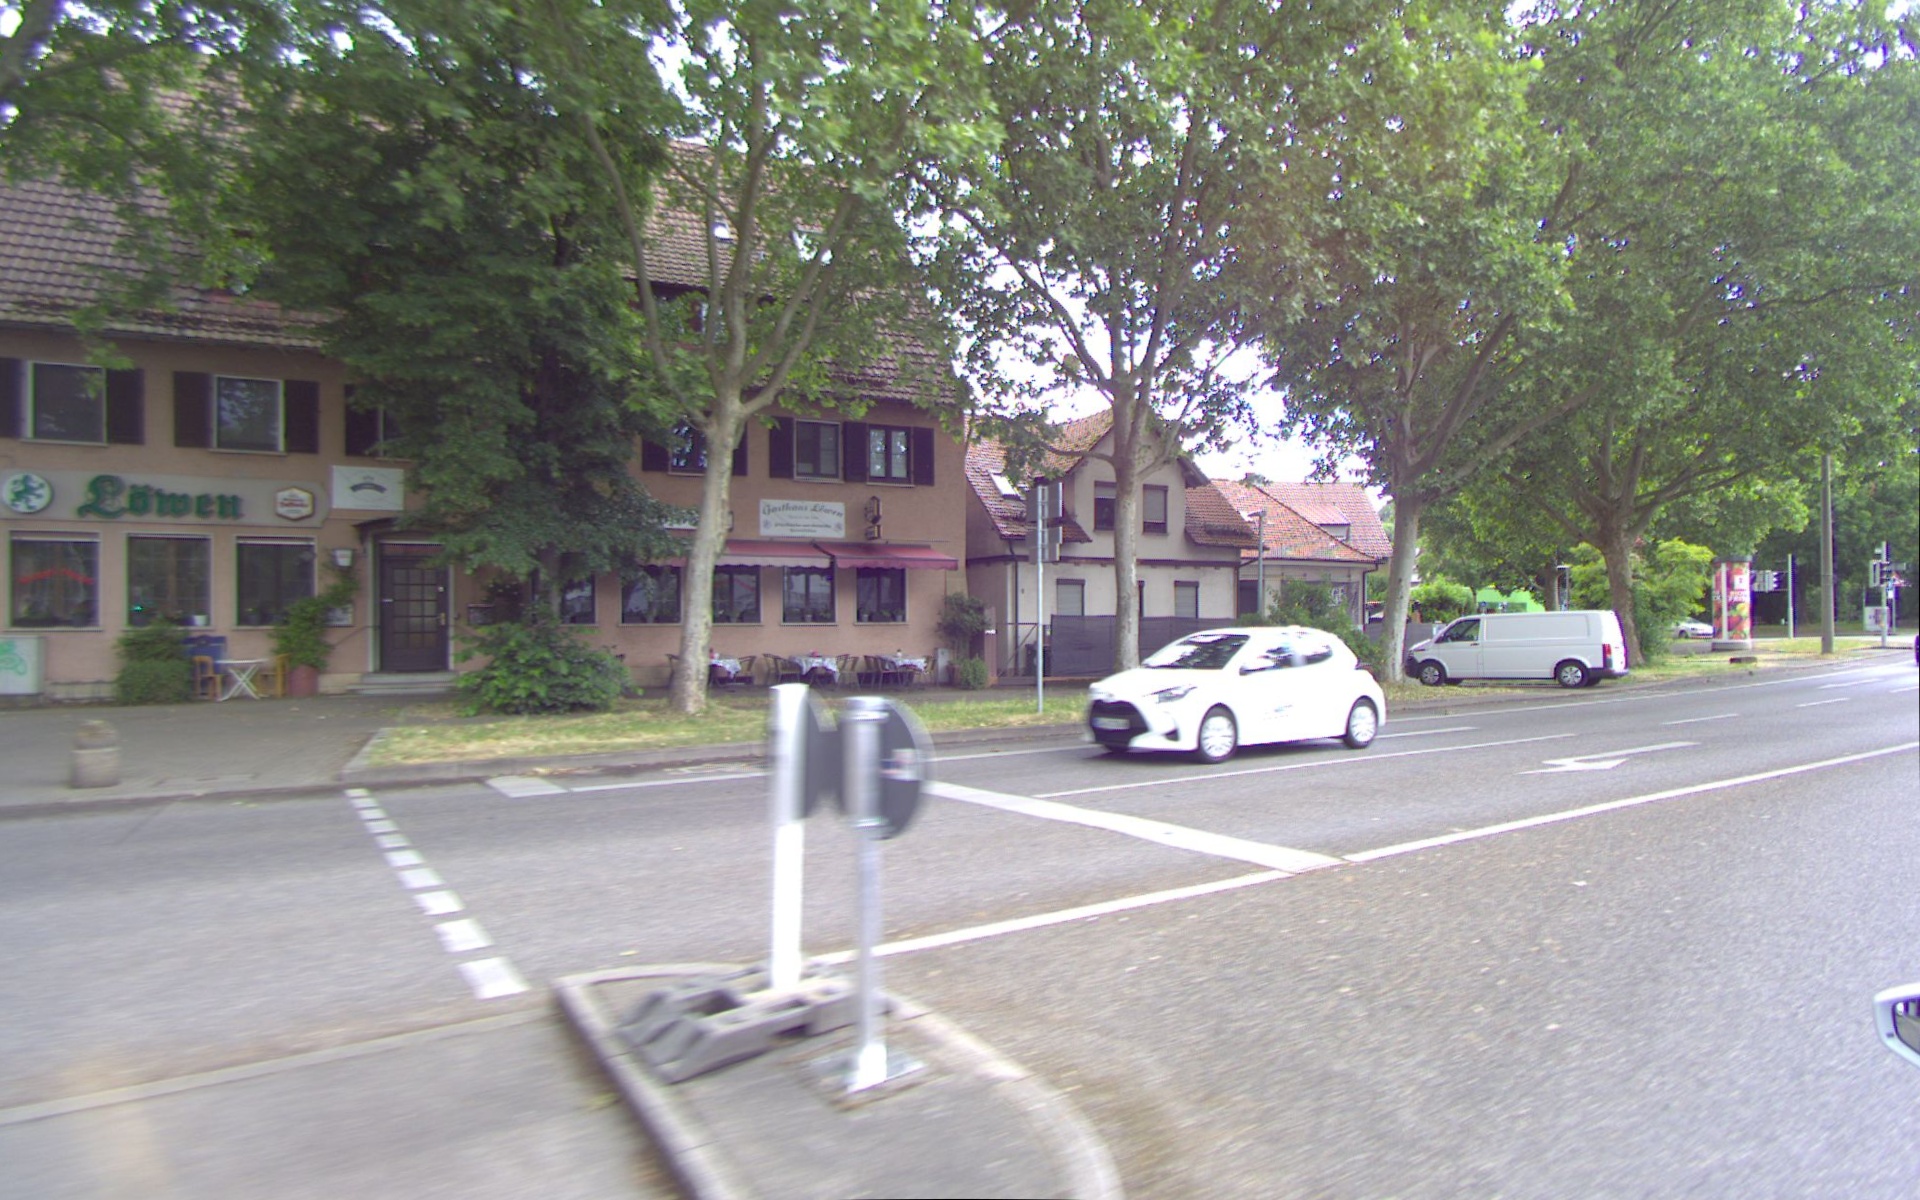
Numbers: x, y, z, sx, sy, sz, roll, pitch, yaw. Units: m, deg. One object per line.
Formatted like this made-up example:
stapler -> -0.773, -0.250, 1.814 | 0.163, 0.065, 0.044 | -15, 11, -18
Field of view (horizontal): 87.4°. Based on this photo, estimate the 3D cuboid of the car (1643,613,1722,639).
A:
car -> 43.820, 1.555, 61.035 | 1.791, 1.499, 3.852 | 0, -1, -5

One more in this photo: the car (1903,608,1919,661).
car -> 31.684, 1.016, 31.743 | 4.369, 1.607, 1.786 | -1, -3, -35

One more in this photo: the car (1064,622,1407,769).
car -> 3.346, 1.053, 12.009 | 3.979, 1.485, 1.752 | 1, -4, -33

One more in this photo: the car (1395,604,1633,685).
car -> 14.684, 1.216, 26.838 | 5.173, 1.956, 2.072 | -4, -3, 44
